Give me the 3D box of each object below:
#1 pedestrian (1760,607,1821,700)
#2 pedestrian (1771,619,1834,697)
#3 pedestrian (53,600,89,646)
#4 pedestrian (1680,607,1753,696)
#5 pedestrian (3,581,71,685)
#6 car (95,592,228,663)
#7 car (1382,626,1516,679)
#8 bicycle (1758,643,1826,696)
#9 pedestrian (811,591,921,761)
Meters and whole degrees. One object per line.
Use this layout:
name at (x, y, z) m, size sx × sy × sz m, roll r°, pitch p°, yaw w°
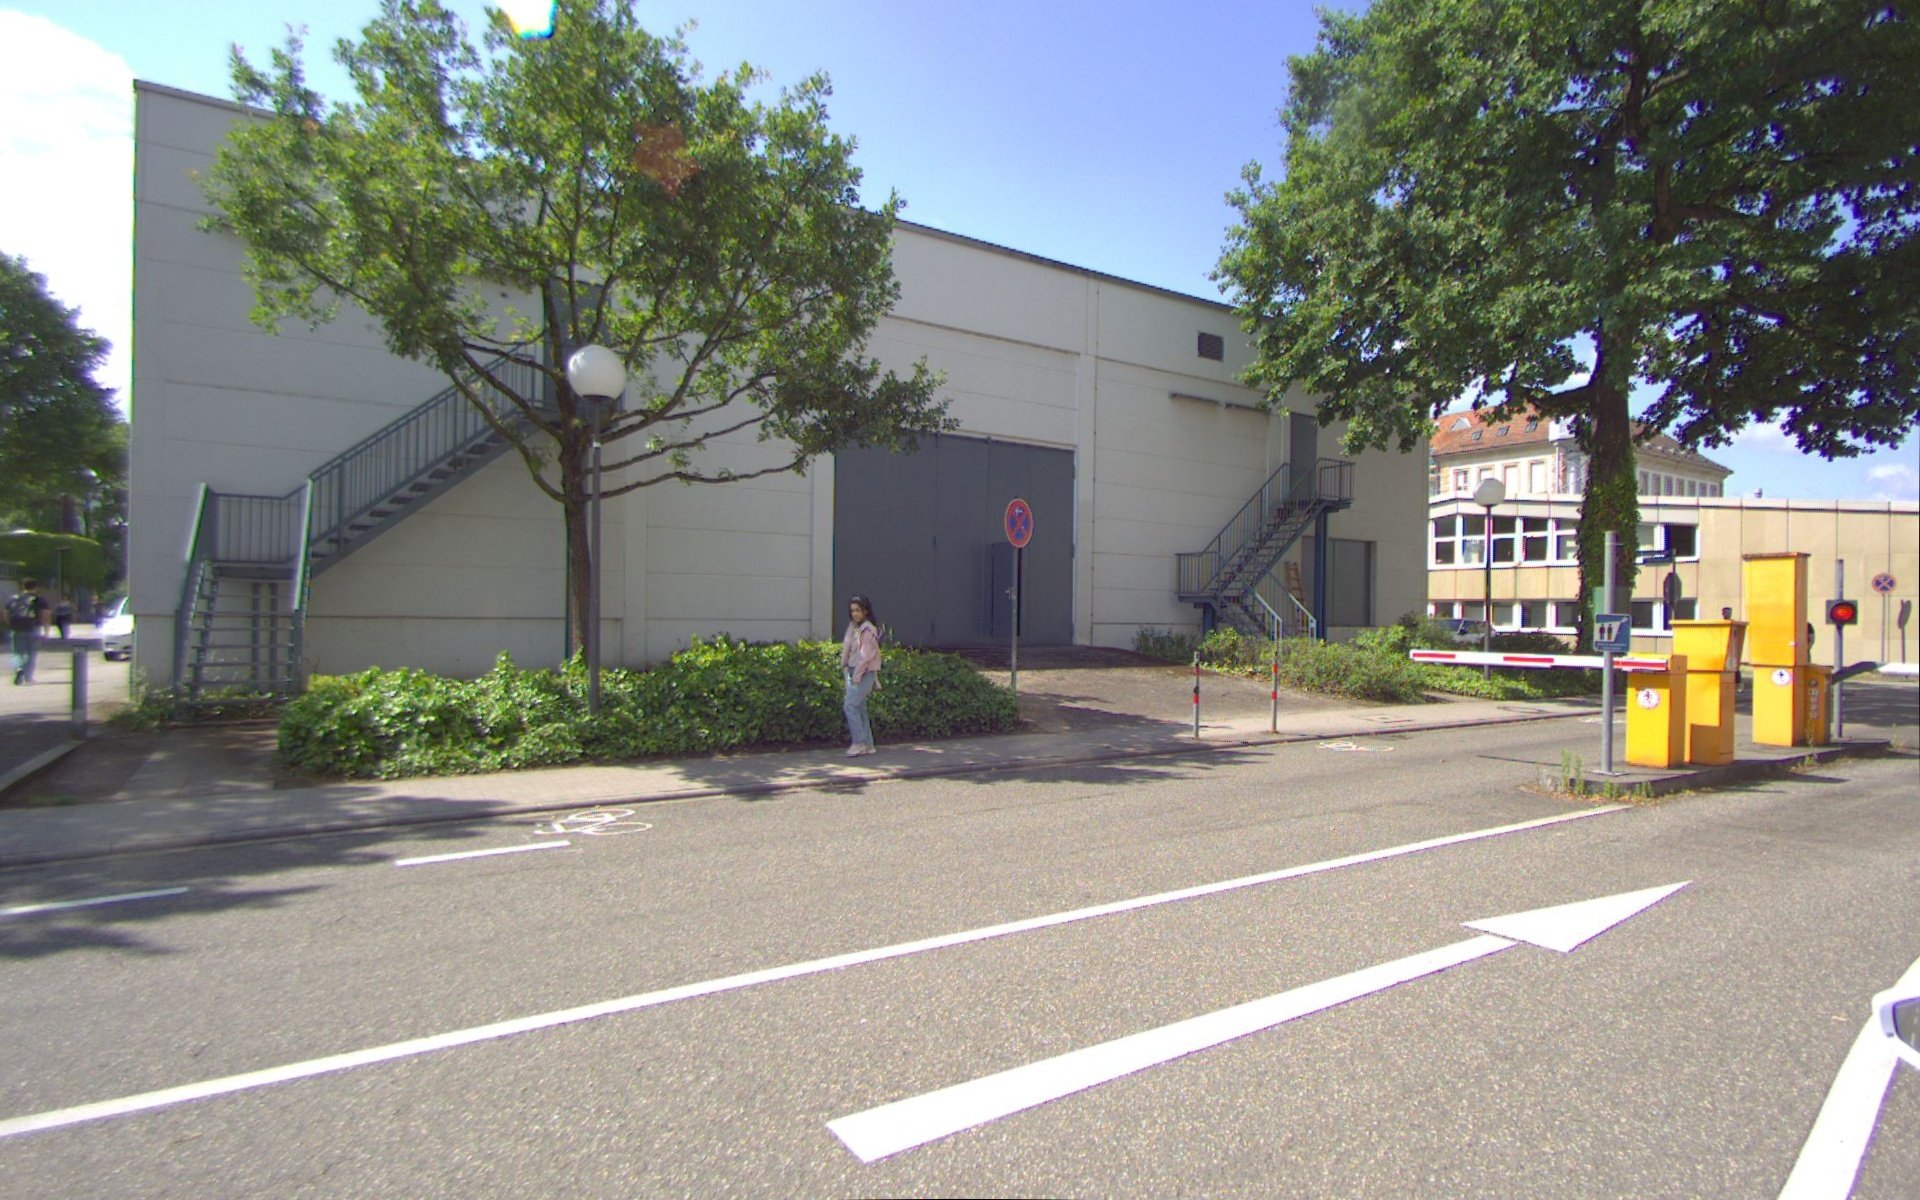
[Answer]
pedestrian at (16.790, 1.053, 20.300) m, size 0.991 × 1.833 × 0.701 m, roll 0°, pitch 0°, yaw -34°
pedestrian at (17.781, 1.199, 21.208) m, size 0.797 × 1.607 × 0.849 m, roll 0°, pitch 0°, yaw -34°
pedestrian at (-30.477, 0.782, 34.453) m, size 0.763 × 1.566 × 0.821 m, roll 0°, pitch 0°, yaw -30°
pedestrian at (16.182, 1.082, 21.502) m, size 0.798 × 1.840 × 1.050 m, roll 0°, pitch 0°, yaw -33°
pedestrian at (-15.163, 0.529, 16.524) m, size 0.658 × 1.670 × 0.762 m, roll 0°, pitch 0°, yaw -30°
car at (-20.781, 0.660, 26.348) m, size 1.976 × 1.676 × 4.897 m, roll 0°, pitch 0°, yaw -30°
car at (14.955, 1.546, 30.674) m, size 4.254 × 1.486 × 1.818 m, roll 1°, pitch -1°, yaw -34°
bicycle at (18.193, 1.494, 21.957) m, size 1.880 × 1.063 × 0.641 m, roll 1°, pitch -1°, yaw -34°
pedestrian at (-0.969, 0.749, 10.297) m, size 0.874 × 1.648 × 0.709 m, roll 1°, pitch 0°, yaw -34°
